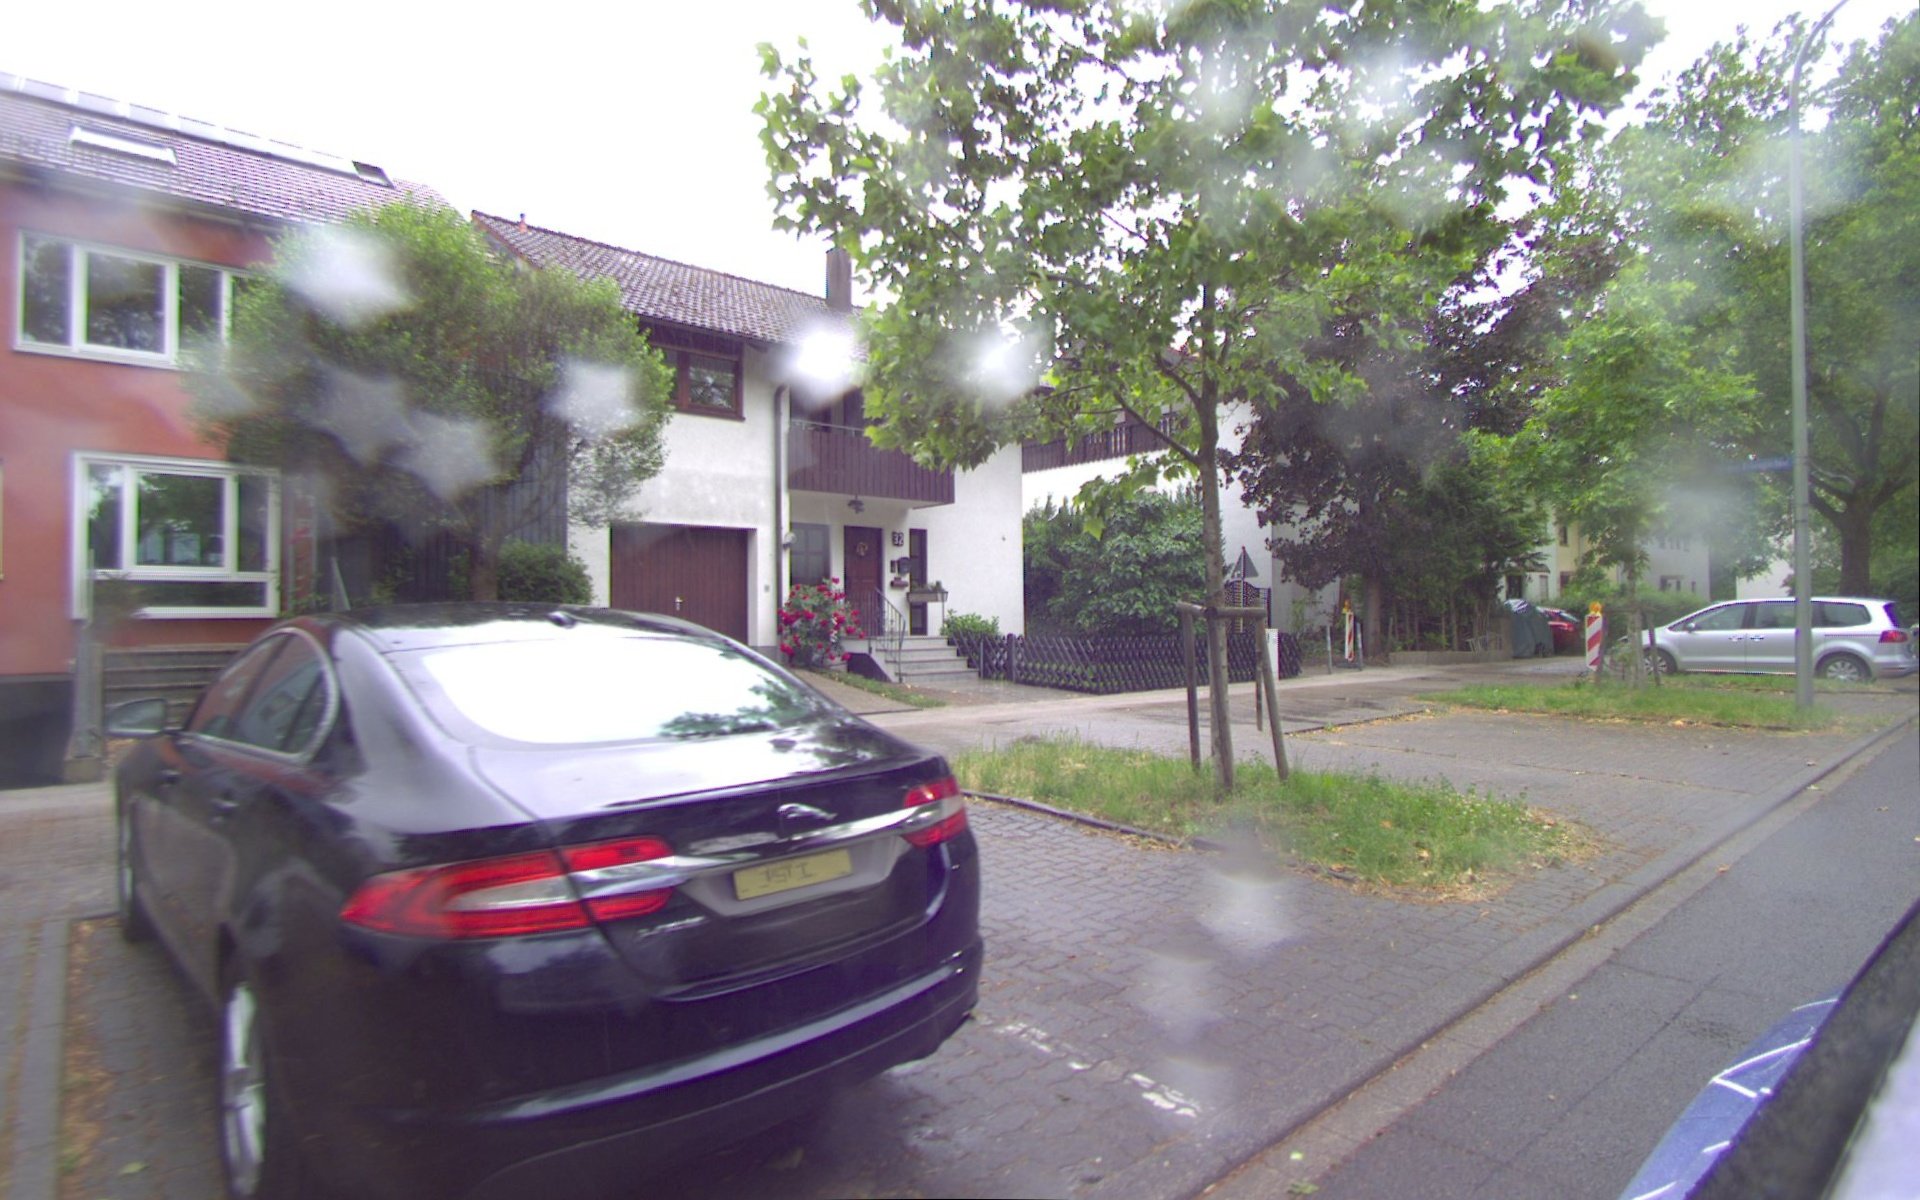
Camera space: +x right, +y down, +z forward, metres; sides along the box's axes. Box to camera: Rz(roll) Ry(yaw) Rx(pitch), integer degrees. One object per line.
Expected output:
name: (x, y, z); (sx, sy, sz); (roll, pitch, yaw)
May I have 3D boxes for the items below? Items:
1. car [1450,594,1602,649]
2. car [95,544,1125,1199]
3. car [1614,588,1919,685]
car: (18.008, 0.649, 32.306); (1.809, 1.633, 3.853); (1, -1, -39)
car: (-1.865, 0.673, 3.862); (1.905, 1.492, 4.769); (1, -1, -44)
car: (15.772, 0.648, 19.782); (1.942, 1.682, 4.694); (1, -1, -42)
